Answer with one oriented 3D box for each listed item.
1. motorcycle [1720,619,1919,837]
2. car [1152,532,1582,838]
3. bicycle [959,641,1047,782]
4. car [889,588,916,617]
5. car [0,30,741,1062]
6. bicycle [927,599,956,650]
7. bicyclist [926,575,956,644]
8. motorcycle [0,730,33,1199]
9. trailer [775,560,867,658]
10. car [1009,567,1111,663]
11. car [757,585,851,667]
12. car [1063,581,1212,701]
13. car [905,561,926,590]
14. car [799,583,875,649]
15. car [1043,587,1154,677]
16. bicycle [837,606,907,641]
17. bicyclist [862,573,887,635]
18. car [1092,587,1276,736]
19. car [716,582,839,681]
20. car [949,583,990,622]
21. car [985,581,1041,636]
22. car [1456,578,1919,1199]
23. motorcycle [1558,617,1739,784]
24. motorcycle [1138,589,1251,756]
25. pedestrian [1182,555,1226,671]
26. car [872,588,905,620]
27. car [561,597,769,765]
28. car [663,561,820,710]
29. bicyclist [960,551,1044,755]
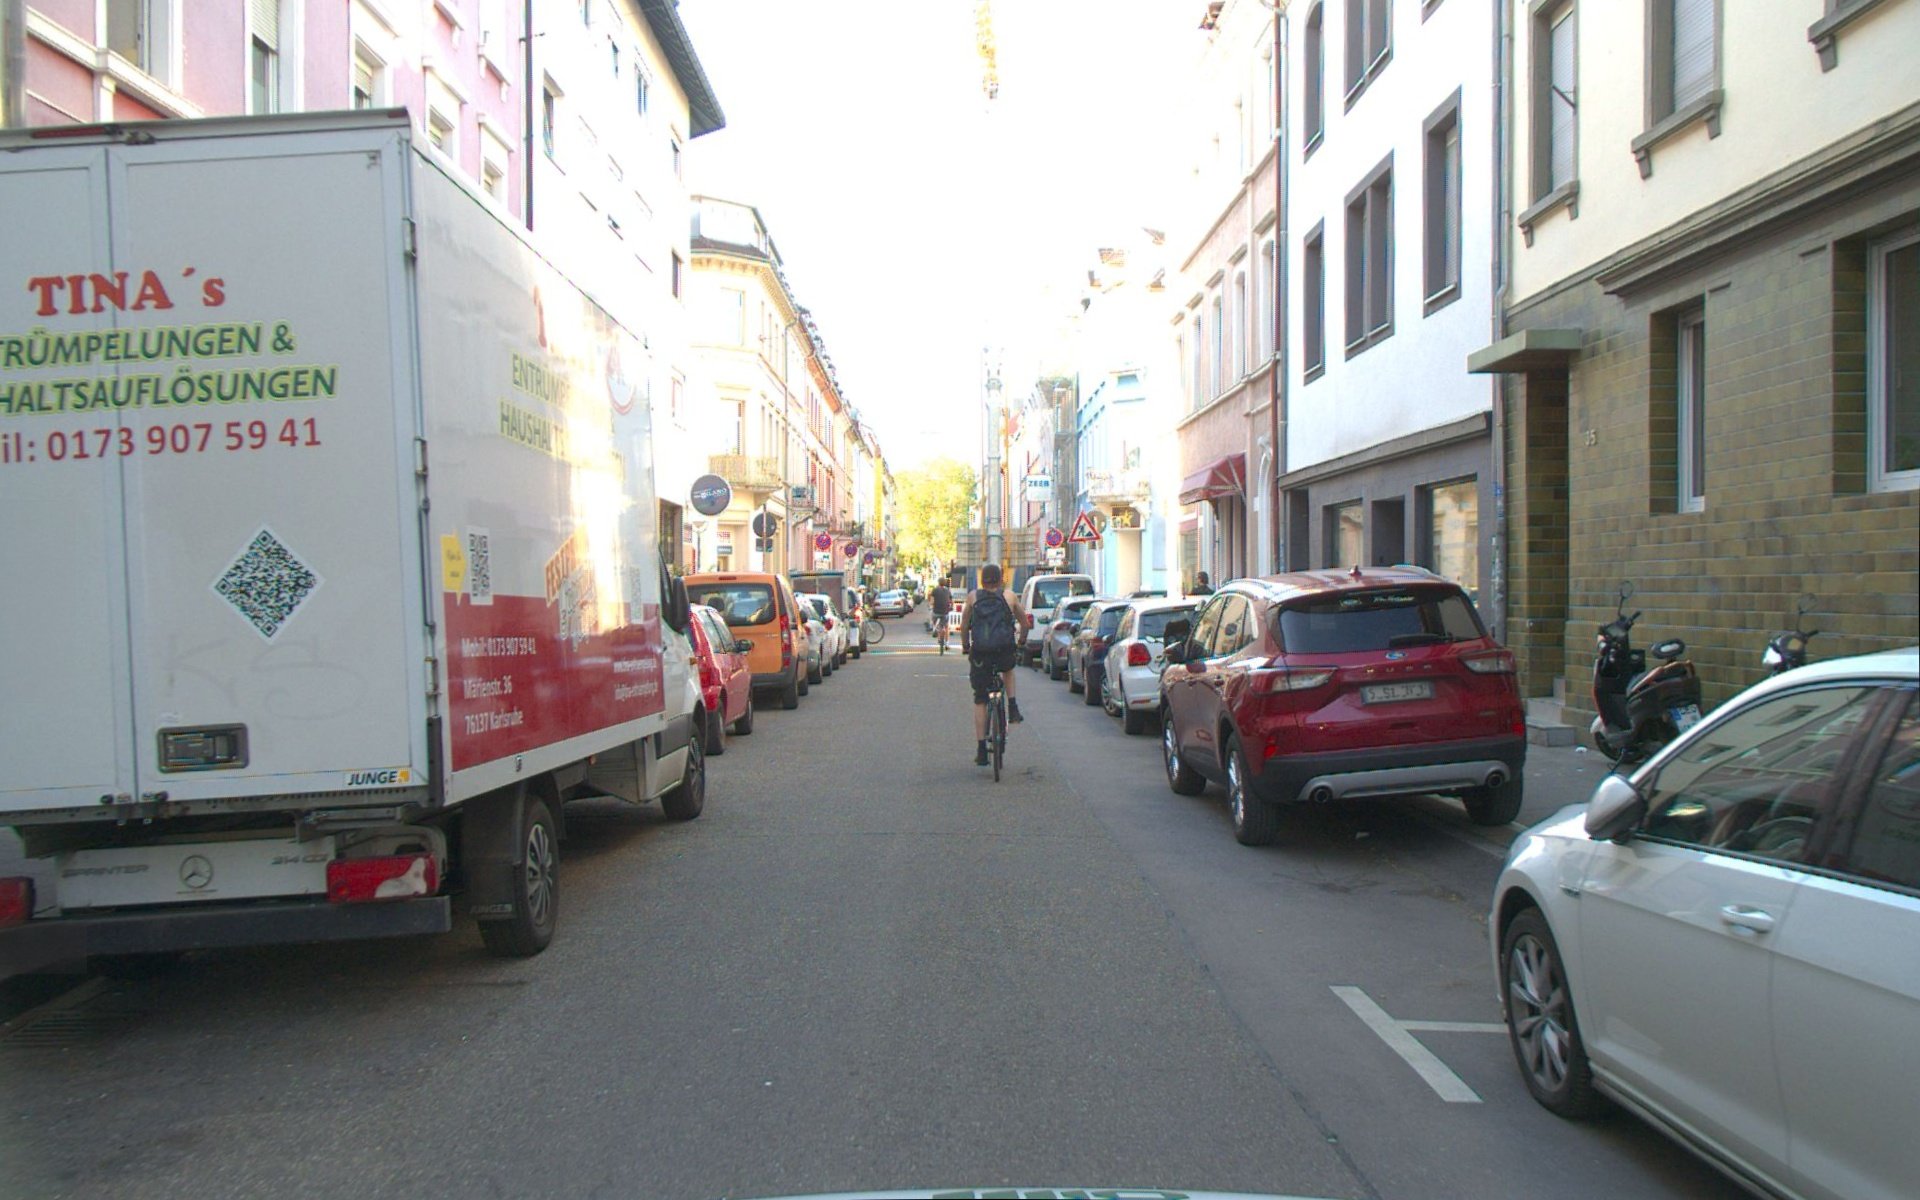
[{"bbox_3d":[5.150,0.687,9.643,0.547,1.114,1.776,-3,0,-1],"label":"motorcycle"},{"bbox_3d":[2.598,0.470,11.703,1.879,1.735,4.365,-1,0,-1],"label":"car"},{"bbox_3d":[0.351,0.936,14.499,0.663,1.093,1.941,1,0,-1],"label":"bicycle"},{"bbox_3d":[-3.791,0.159,109.208,1.714,1.853,3.795,-1,0,-1],"label":"car"},{"bbox_3d":[-2.861,-0.164,9.023,2.296,3.349,7.153,-2,0,0],"label":"car"},{"bbox_3d":[-0.447,0.570,39.118,0.635,1.149,2.135,1,0,-1],"label":"bicycle"},{"bbox_3d":[-0.451,0.224,39.083,0.657,1.595,0.716,1,0,-2],"label":"bicyclist"},{"bbox_3d":[-2.933,0.955,2.942,0.777,1.275,2.096,-2,0,40],"label":"motorcycle"},{"bbox_3d":[-3.184,0.197,38.515,1.844,2.129,3.736,-1,0,-1],"label":"trailer"},{"bbox_3d":[2.081,0.310,35.405,1.715,1.911,3.970,-1,0,-3],"label":"car"},{"bbox_3d":[-3.135,0.504,33.891,1.620,1.564,3.633,-1,0,-1],"label":"car"},{"bbox_3d":[2.516,0.559,24.310,1.613,1.500,3.970,-4,0,-1],"label":"car"},{"bbox_3d":[-3.751,-2.074,139.153,1.714,2.358,3.795,-1,0,-1],"label":"car"},{"bbox_3d":[-3.148,0.399,42.830,1.714,1.600,3.795,-1,0,-1],"label":"car"},{"bbox_3d":[2.480,0.547,30.348,1.714,1.513,3.800,-1,0,0],"label":"car"},{"bbox_3d":[-2.519,0.670,47.353,1.956,0.975,0.478,1,0,-4],"label":"bicycle"},{"bbox_3d":[-2.450,0.117,47.382,0.668,1.736,0.381,1,0,-4],"label":"bicyclist"},{"bbox_3d":[2.584,0.670,19.853,1.633,1.531,3.816,-3,0,0],"label":"car"},{"bbox_3d":[-3.110,0.507,28.865,1.714,1.564,4.318,-1,0,-1],"label":"car"},{"bbox_3d":[0.367,0.102,69.085,1.578,1.587,3.609,1,0,-1],"label":"car"},{"bbox_3d":[1.669,0.265,52.711,1.578,1.662,3.609,1,0,-1],"label":"car"},{"bbox_3d":[2.611,0.733,3.711,1.652,1.570,4.045,-2,0,-1],"label":"car"},{"bbox_3d":[5.080,0.703,12.332,0.491,1.114,1.878,-3,0,-1],"label":"motorcycle"},{"bbox_3d":[2.280,0.671,16.355,0.731,1.516,2.421,1,0,-1],"label":"motorcycle"},{"bbox_3d":[4.390,0.233,29.759,0.631,2.049,0.763,1,0,-1],"label":"pedestrian"},{"bbox_3d":[-3.964,0.212,91.822,1.714,1.713,3.795,-1,0,-1],"label":"car"},{"bbox_3d":[-3.001,0.769,17.455,1.546,1.509,3.564,-3,0,-1],"label":"car"},{"bbox_3d":[-2.983,0.457,23.284,1.717,1.848,4.077,-2,0,-2],"label":"car"},{"bbox_3d":[0.350,0.448,14.435,0.654,1.706,1.097,1,0,-1],"label":"bicyclist"}]
